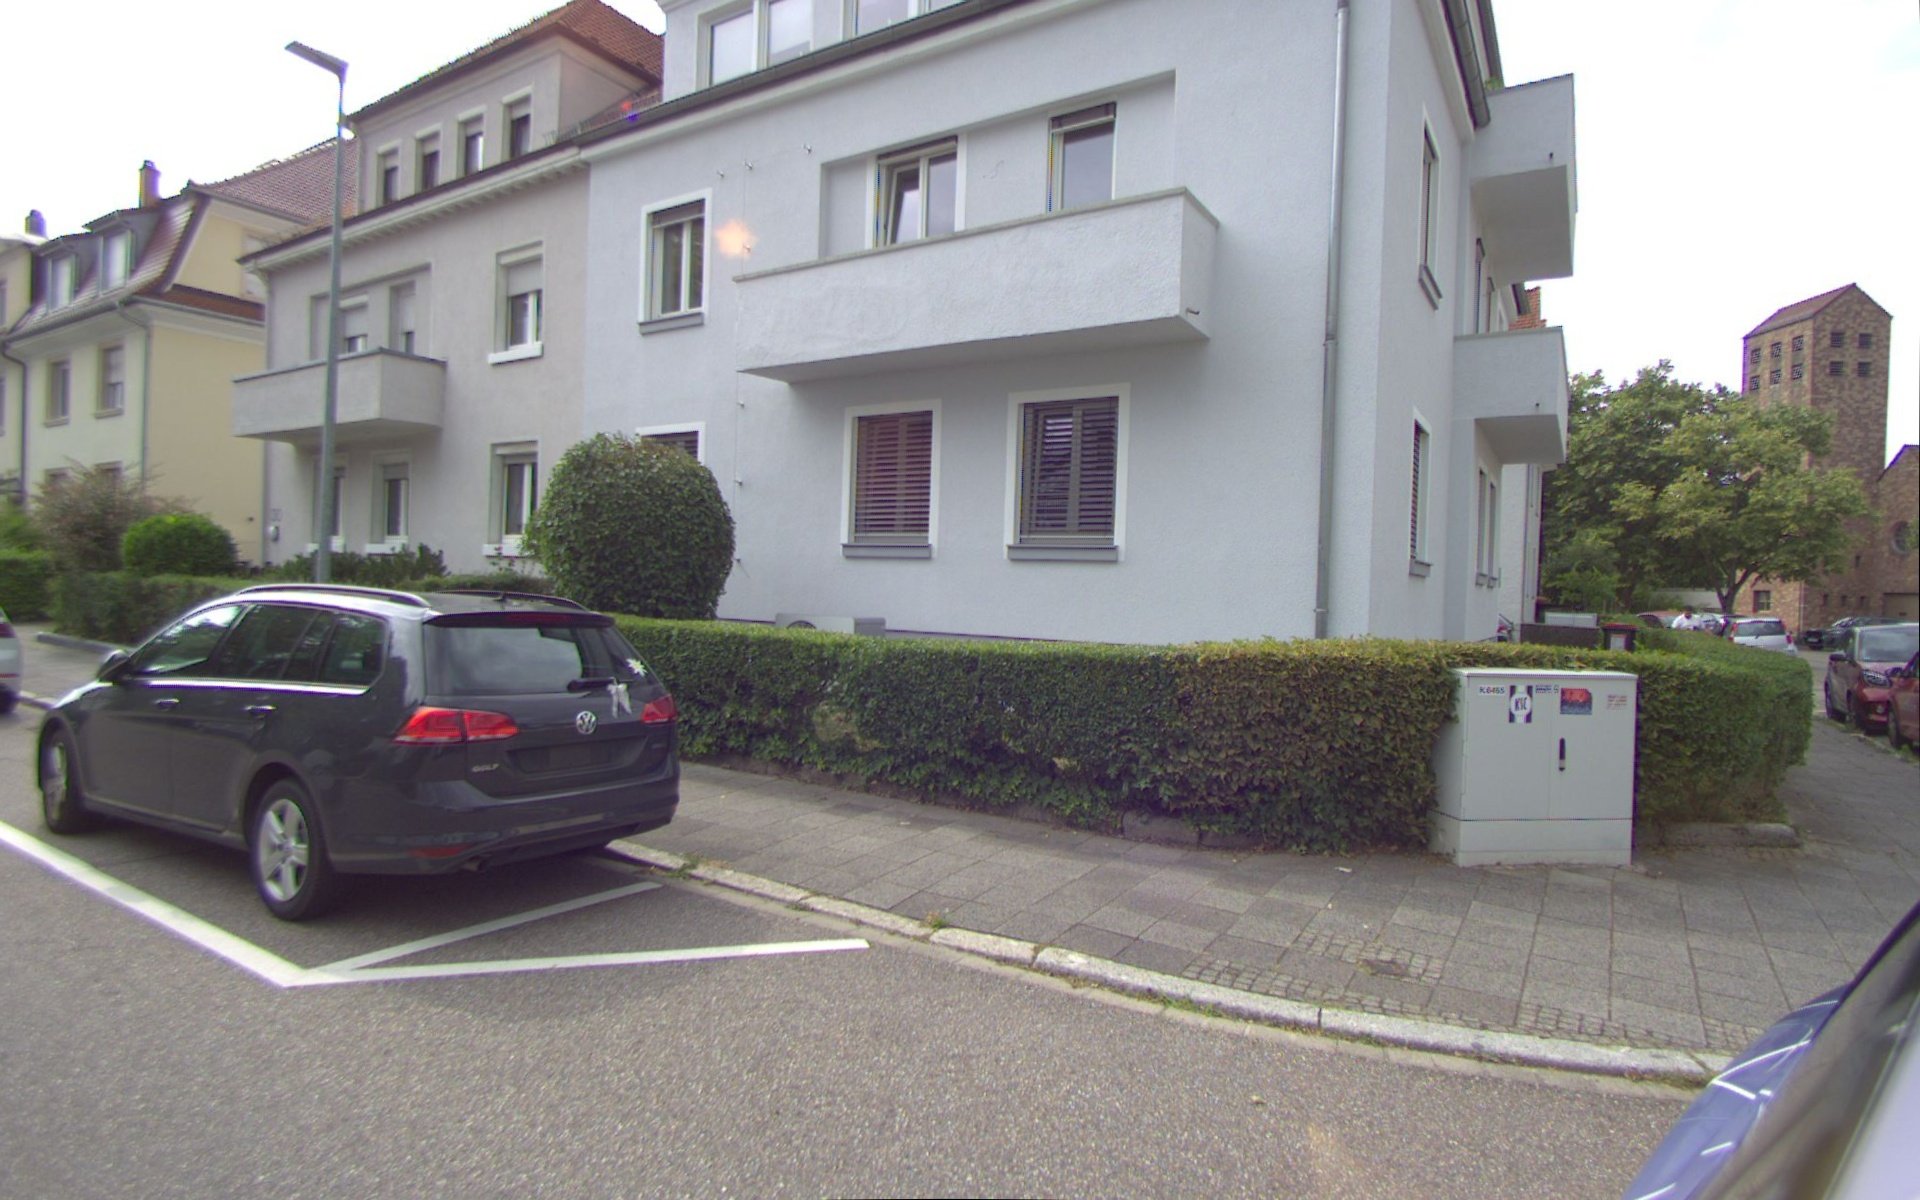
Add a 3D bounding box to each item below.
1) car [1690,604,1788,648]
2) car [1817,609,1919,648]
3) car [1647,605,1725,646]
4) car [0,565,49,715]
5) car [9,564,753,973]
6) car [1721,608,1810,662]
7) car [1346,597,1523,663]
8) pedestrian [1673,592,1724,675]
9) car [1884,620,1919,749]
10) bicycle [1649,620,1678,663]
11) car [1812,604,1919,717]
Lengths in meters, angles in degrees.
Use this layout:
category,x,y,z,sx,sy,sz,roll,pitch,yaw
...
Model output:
category,x,y,z,sx,sy,sz,roll,pitch,yaw
car,31.705,1.018,41.331,1.831,1.499,4.018,4,2,18
car,40.725,1.235,44.635,4.198,1.482,1.665,3,3,33
car,27.920,0.953,39.011,1.632,1.515,3.455,-1,-1,22
car,-11.661,0.332,10.915,4.148,1.490,1.836,3,1,35
car,-3.376,0.608,5.731,4.141,1.490,1.840,2,1,30
car,24.084,1.009,30.366,1.638,1.515,3.441,-2,-1,32
car,12.502,0.737,26.731,3.973,1.482,1.975,2,1,34
pedestrian,17.819,0.785,24.450,0.878,1.902,1.066,2,1,33
car,11.969,1.003,11.399,1.638,1.515,3.441,-2,-1,32
bicycle,20.094,1.163,28.944,0.419,1.117,2.094,2,1,28
car,14.137,0.829,15.109,1.638,1.515,3.441,-2,-1,32
